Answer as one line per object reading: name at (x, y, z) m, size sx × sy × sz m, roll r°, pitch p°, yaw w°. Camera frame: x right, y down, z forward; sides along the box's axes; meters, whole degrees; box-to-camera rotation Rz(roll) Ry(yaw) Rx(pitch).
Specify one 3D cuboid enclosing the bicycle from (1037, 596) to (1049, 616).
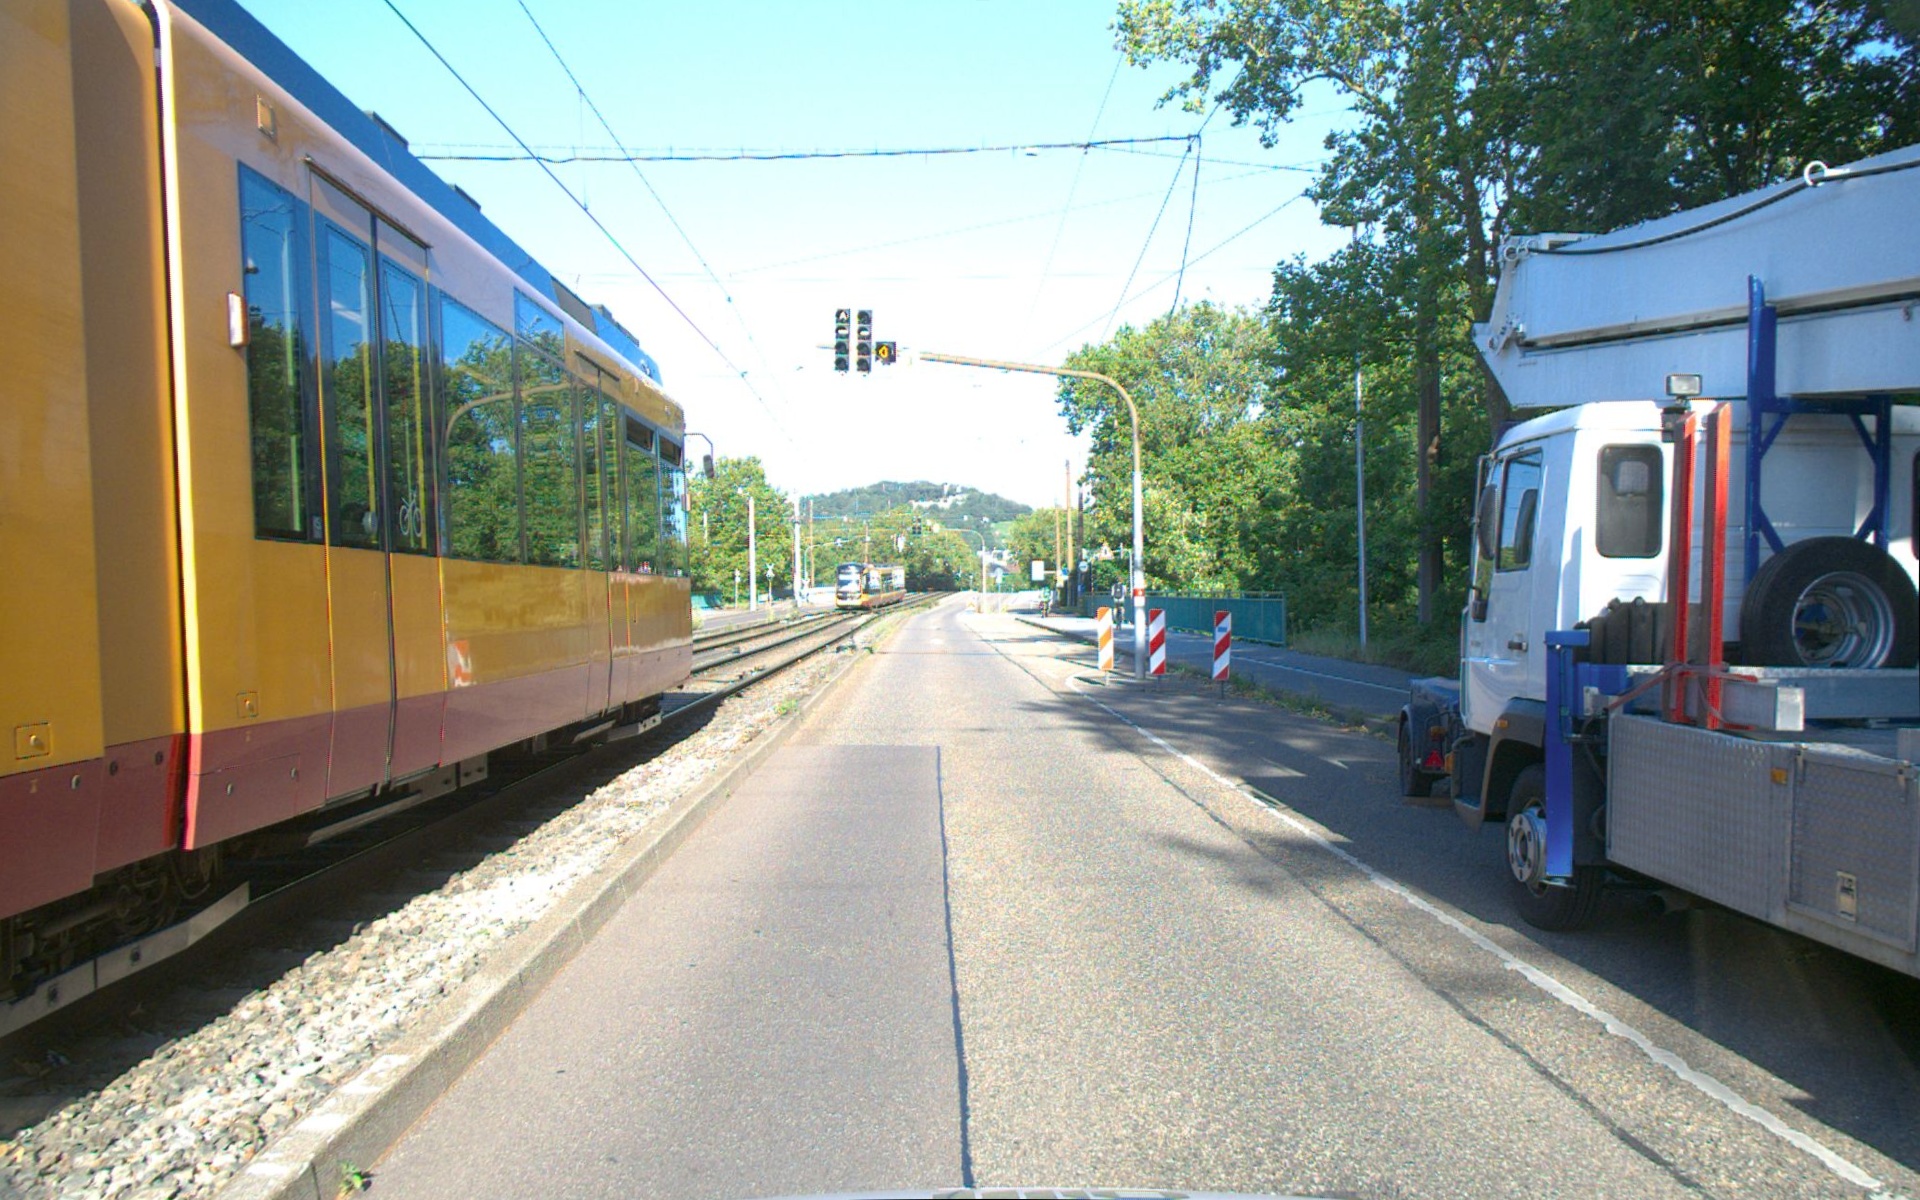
bicycle at (4.540, 0.344, 90.674) m, size 0.504 × 1.060 × 1.975 m, roll -1°, pitch 0°, yaw -1°

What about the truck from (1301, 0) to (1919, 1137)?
truck at (3.851, -0.495, 6.718) m, size 2.662 × 3.849 × 9.759 m, roll 1°, pitch 0°, yaw -1°

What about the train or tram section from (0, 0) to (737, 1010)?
train or tram section at (-3.798, -0.699, 12.106) m, size 2.664 × 4.160 × 12.811 m, roll -2°, pitch 0°, yaw -1°

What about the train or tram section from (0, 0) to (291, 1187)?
train or tram section at (-3.638, -0.605, 0.775) m, size 2.640 × 4.160 × 9.909 m, roll -2°, pitch 0°, yaw -1°

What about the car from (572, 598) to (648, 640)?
car at (-12.507, 0.658, 59.412) m, size 1.731 × 1.437 × 4.911 m, roll 0°, pitch 0°, yaw -1°

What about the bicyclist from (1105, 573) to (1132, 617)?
bicyclist at (5.676, -0.173, 59.283) m, size 0.807 × 1.547 × 0.975 m, roll -1°, pitch 0°, yaw -1°

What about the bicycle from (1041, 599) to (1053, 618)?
bicycle at (5.202, 0.499, 99.021) m, size 0.528 × 1.060 × 1.975 m, roll -1°, pitch 0°, yaw -1°

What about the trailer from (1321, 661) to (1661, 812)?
trailer at (4.054, 1.007, 13.184) m, size 1.544 × 0.874 × 3.501 m, roll 0°, pitch 0°, yaw -1°

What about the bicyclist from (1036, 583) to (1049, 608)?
bicyclist at (4.526, -0.252, 90.693) m, size 0.592 × 1.403 × 0.975 m, roll -1°, pitch 0°, yaw -1°

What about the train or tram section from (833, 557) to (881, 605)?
train or tram section at (-8.090, -1.515, 130.925) m, size 2.589 × 3.629 × 10.836 m, roll -1°, pitch 0°, yaw 2°

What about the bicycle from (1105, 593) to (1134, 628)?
bicycle at (5.691, 0.359, 59.263) m, size 0.713 × 1.196 × 2.694 m, roll -1°, pitch 0°, yaw -1°
